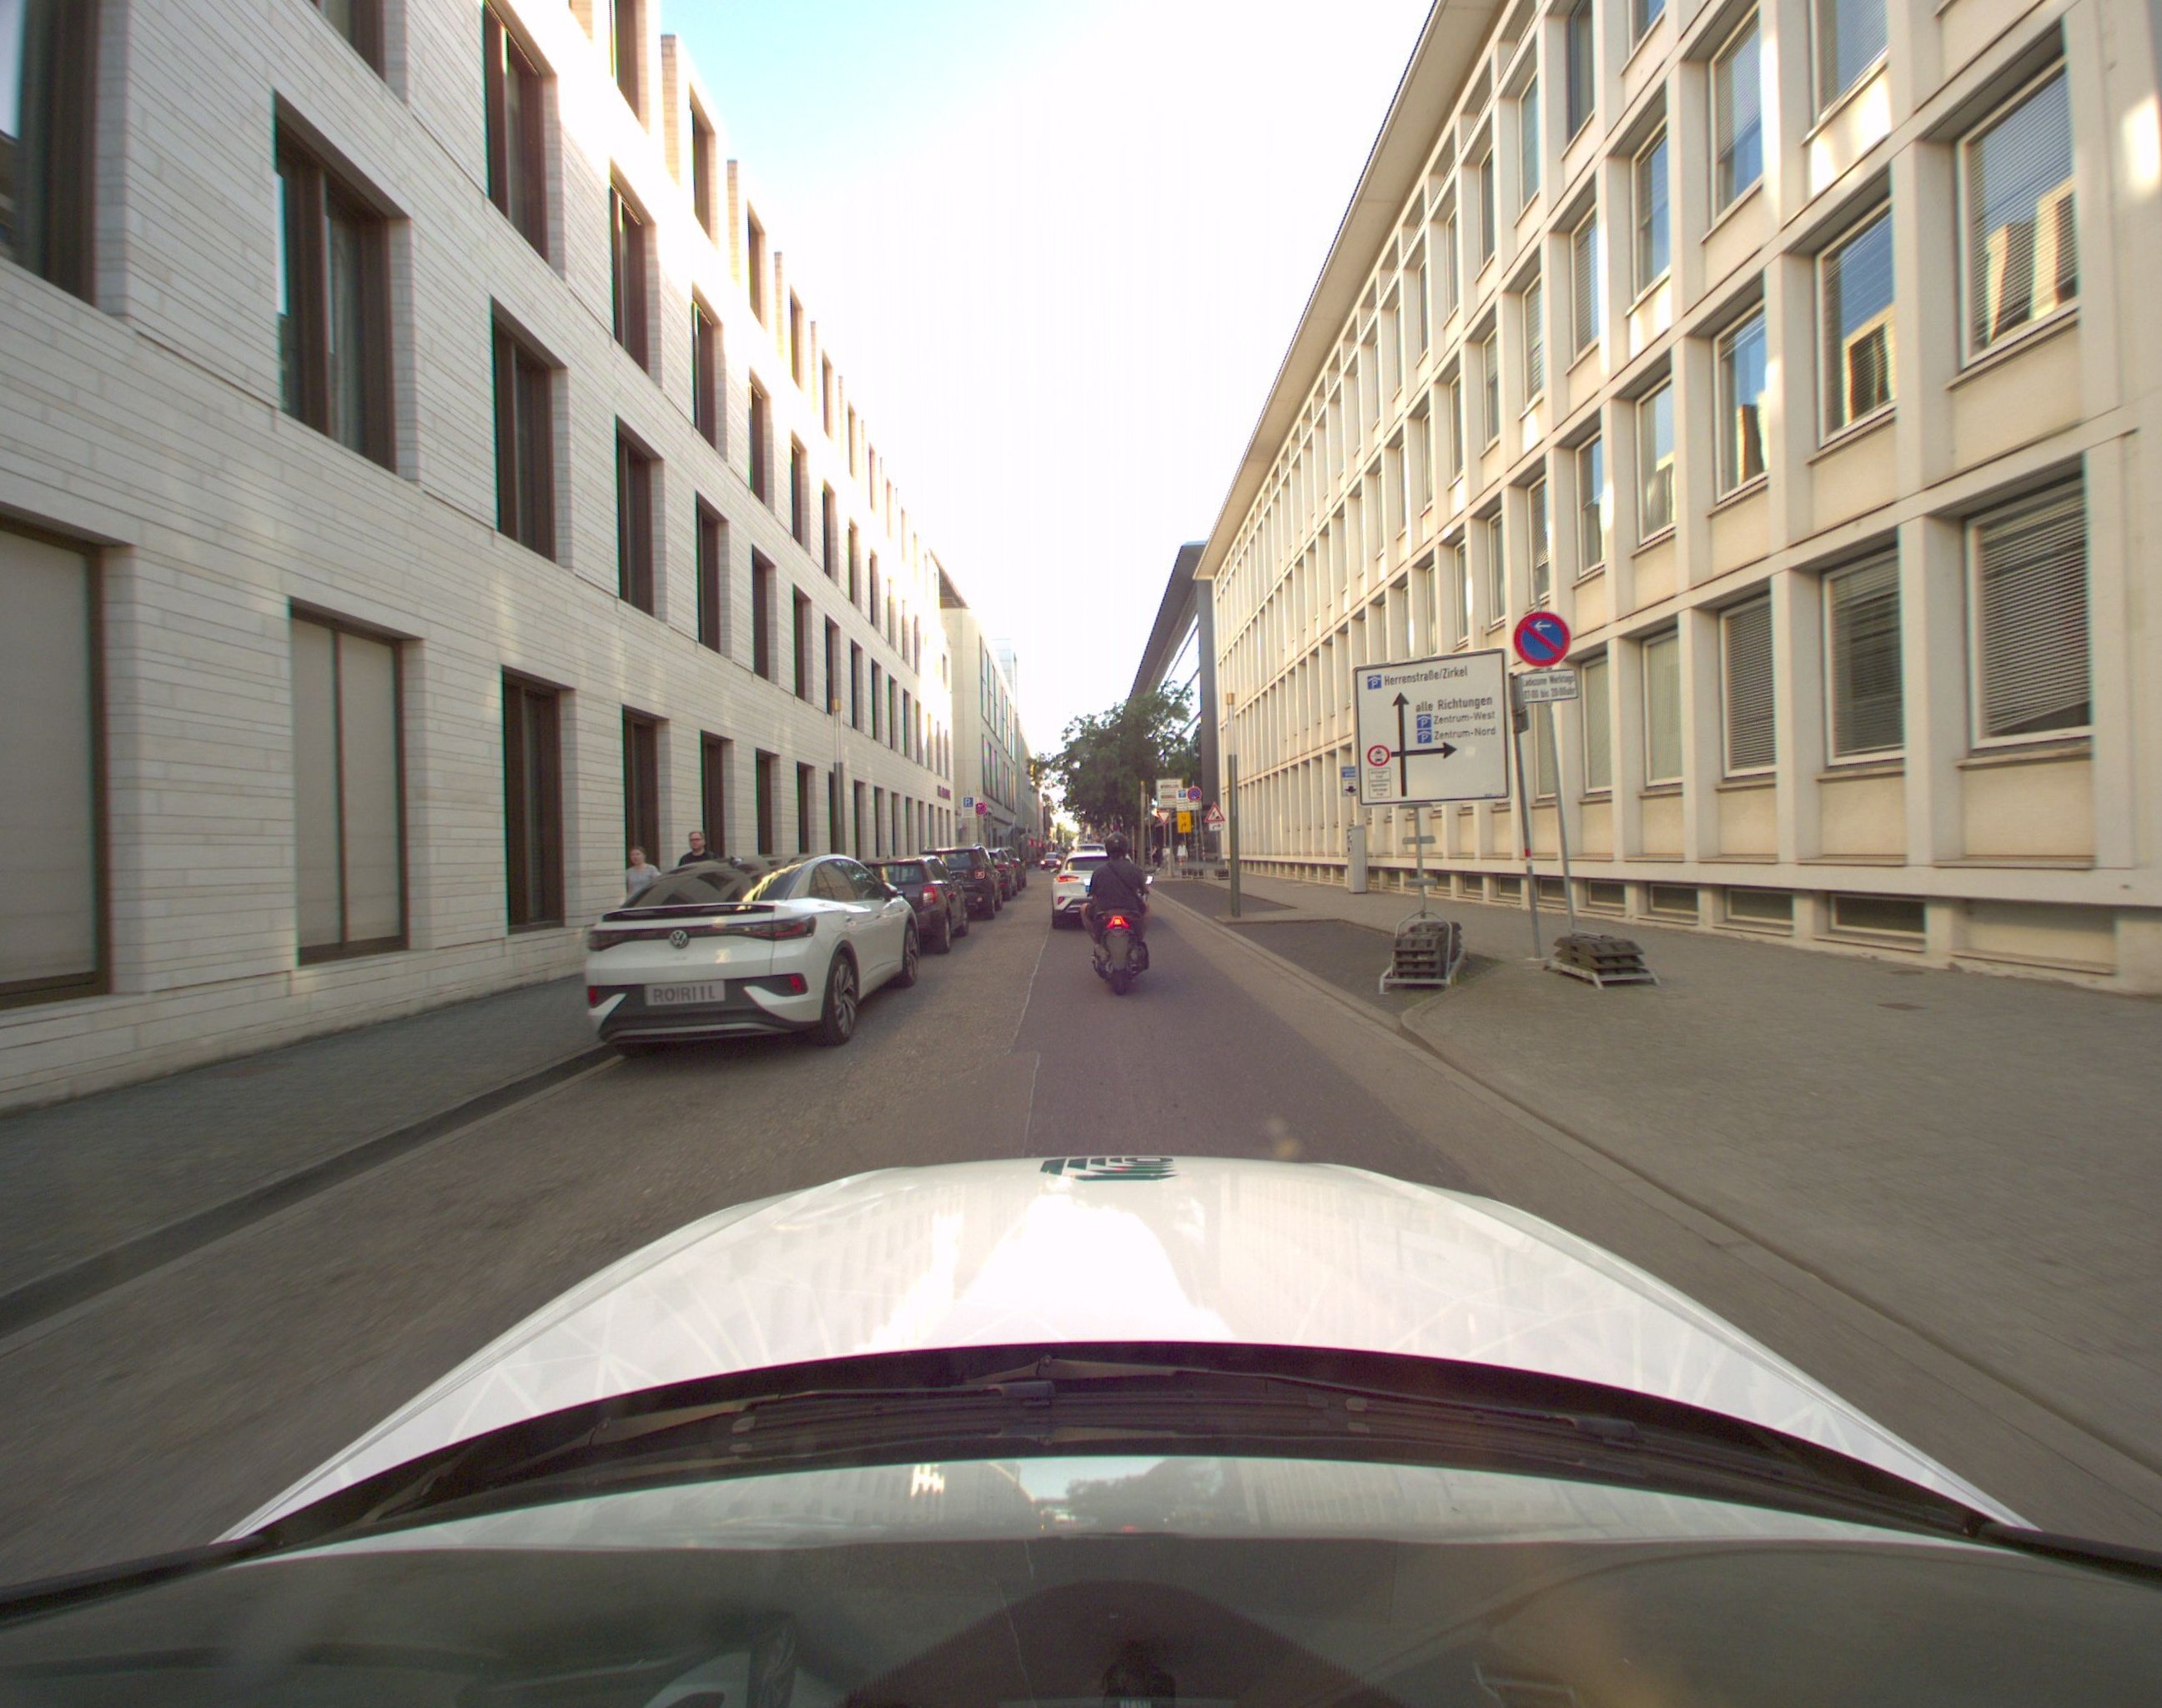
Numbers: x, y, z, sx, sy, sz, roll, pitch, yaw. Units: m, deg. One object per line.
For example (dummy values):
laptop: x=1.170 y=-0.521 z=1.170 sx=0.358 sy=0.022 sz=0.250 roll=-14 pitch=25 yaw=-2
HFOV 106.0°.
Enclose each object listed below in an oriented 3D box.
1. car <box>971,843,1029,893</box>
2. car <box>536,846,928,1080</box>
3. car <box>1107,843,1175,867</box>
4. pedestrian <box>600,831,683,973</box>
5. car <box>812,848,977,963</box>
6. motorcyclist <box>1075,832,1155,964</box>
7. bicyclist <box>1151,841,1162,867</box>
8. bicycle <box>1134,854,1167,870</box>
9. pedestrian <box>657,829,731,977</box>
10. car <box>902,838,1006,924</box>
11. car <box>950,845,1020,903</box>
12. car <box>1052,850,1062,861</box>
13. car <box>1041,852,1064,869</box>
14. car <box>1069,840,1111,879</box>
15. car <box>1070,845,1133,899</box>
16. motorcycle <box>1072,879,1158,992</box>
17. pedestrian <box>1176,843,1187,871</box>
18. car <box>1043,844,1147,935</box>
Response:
car: x=-3.076 y=0.479 z=31.588 sx=1.817 sy=1.677 sz=4.261 roll=-3 pitch=1 yaw=-1
car: x=-2.871 y=0.742 z=7.956 sx=1.816 sy=1.541 sz=4.446 roll=-3 pitch=1 yaw=0
car: x=4.625 y=0.078 z=63.306 sx=4.993 sy=1.451 sz=1.998 roll=-5 pitch=0 yaw=-3
pedestrian: x=-5.757 y=0.613 z=10.699 sx=0.641 sy=1.790 sz=0.816 roll=0 pitch=-1 yaw=0
car: x=-2.958 y=0.720 z=13.888 sx=1.817 sy=1.541 sz=4.261 roll=-3 pitch=1 yaw=-1
motorcyclist: x=0.370 y=0.482 z=9.104 sx=0.864 sy=1.427 sz=0.455 roll=0 pitch=-1 yaw=0
bicyclist: x=4.801 y=0.001 z=51.610 sx=0.627 sy=1.625 sz=0.498 roll=0 pitch=-1 yaw=1
bicycle: x=4.402 y=0.484 z=51.612 sx=2.094 sy=0.995 sz=0.518 roll=0 pitch=-1 yaw=1
pedestrian: x=-4.823 y=0.600 z=10.180 sx=0.639 sy=1.790 sz=0.575 roll=0 pitch=-1 yaw=-1
car: x=-2.884 y=0.557 z=19.282 sx=1.817 sy=1.714 sz=4.016 roll=-3 pitch=1 yaw=-1
car: x=-2.963 y=0.555 z=25.927 sx=1.735 sy=1.594 sz=4.152 roll=-3 pitch=1 yaw=-1
car: x=-5.170 y=0.316 z=176.466 sx=1.989 sy=2.329 sz=5.015 roll=1 pitch=0 yaw=-3
car: x=-2.567 y=0.623 z=74.175 sx=1.815 sy=1.465 sz=4.264 roll=-1 pitch=-2 yaw=2
car: x=0.374 y=0.232 z=39.129 sx=1.817 sy=1.645 sz=4.492 roll=-3 pitch=1 yaw=-1
car: x=0.589 y=0.515 z=27.086 sx=1.817 sy=1.541 sz=4.362 roll=-3 pitch=1 yaw=-1
motorcycle: x=0.357 y=0.859 z=9.218 sx=0.869 sy=1.109 sz=1.840 roll=0 pitch=-1 yaw=1
pedestrian: x=5.820 y=0.170 z=47.099 sx=0.557 sy=1.584 sz=0.598 roll=0 pitch=-1 yaw=1
car: x=0.217 y=0.618 z=16.910 sx=1.817 sy=1.541 sz=4.261 roll=-3 pitch=1 yaw=-1
